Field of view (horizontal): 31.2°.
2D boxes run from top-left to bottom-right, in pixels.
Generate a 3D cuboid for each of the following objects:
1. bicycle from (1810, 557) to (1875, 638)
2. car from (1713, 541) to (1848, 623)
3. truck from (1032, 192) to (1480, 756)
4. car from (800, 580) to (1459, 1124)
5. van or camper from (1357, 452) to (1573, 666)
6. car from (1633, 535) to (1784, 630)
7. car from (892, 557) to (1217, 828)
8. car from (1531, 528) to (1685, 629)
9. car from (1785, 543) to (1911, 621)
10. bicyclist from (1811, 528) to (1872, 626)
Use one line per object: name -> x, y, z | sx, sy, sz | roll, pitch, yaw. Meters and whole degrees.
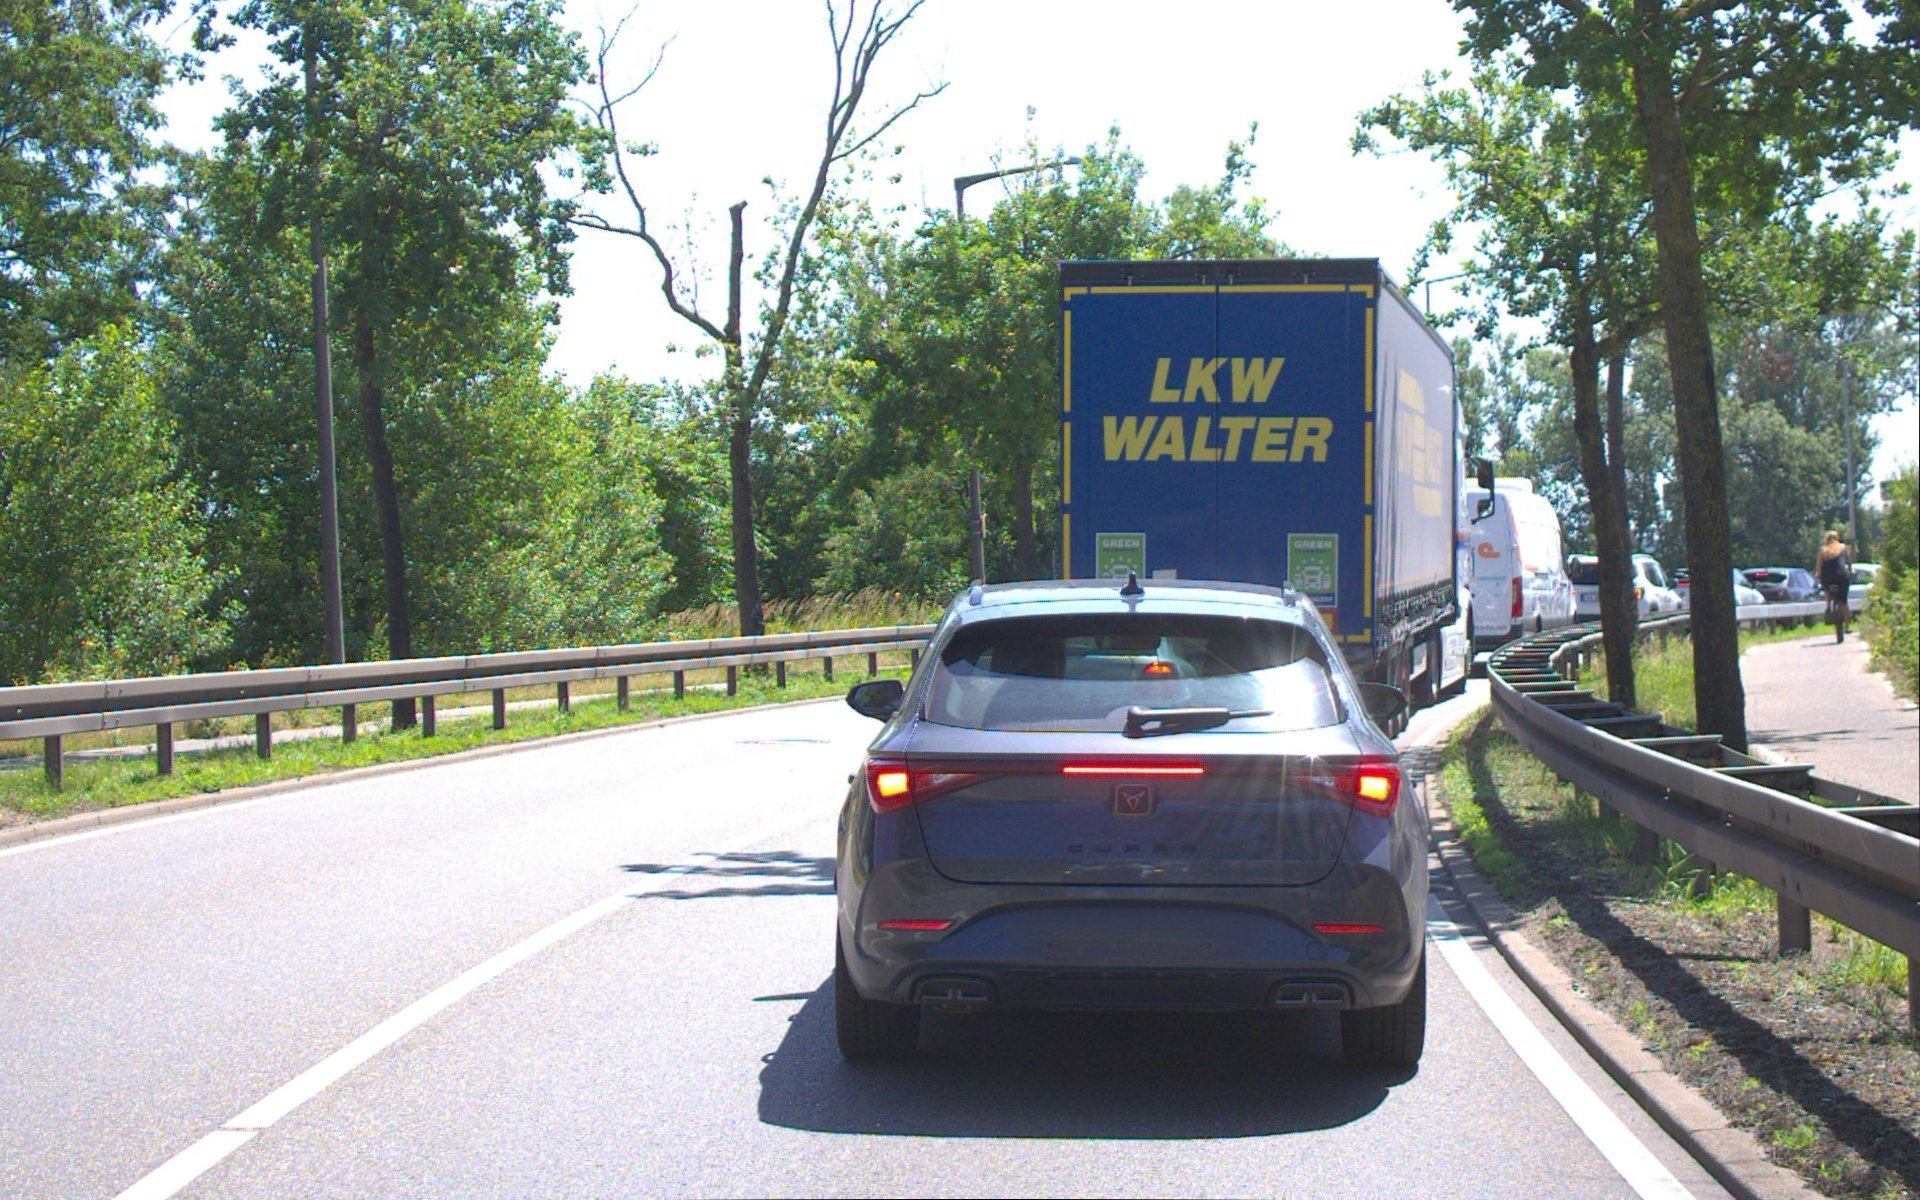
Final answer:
bicycle -> 13.791, -0.048, 53.776 | 0.861, 1.232, 2.308 | 0, 0, 12
car -> 17.839, -0.396, 74.593 | 1.996, 1.711, 4.862 | 1, 0, 24
truck -> 3.580, -1.050, 35.564 | 2.951, 4.433, 16.790 | 0, 0, 11
car -> 0.545, 0.656, 11.104 | 1.744, 1.427, 3.880 | 0, 0, 3
van or camper -> 7.595, -0.597, 51.176 | 2.468, 2.988, 6.082 | 0, 0, 15
car -> 14.809, -0.345, 67.843 | 1.996, 1.802, 4.839 | 1, 0, 24
car -> 0.652, 0.503, 21.252 | 1.809, 1.503, 4.000 | 0, 0, 4
car -> 11.551, -0.381, 61.053 | 1.995, 1.706, 4.615 | 1, 0, 19
car -> 20.904, -0.420, 80.823 | 1.996, 1.762, 4.748 | 1, 0, 25
bicyclist -> 13.786, -0.357, 53.770 | 0.861, 1.518, 0.980 | 0, 0, 12
